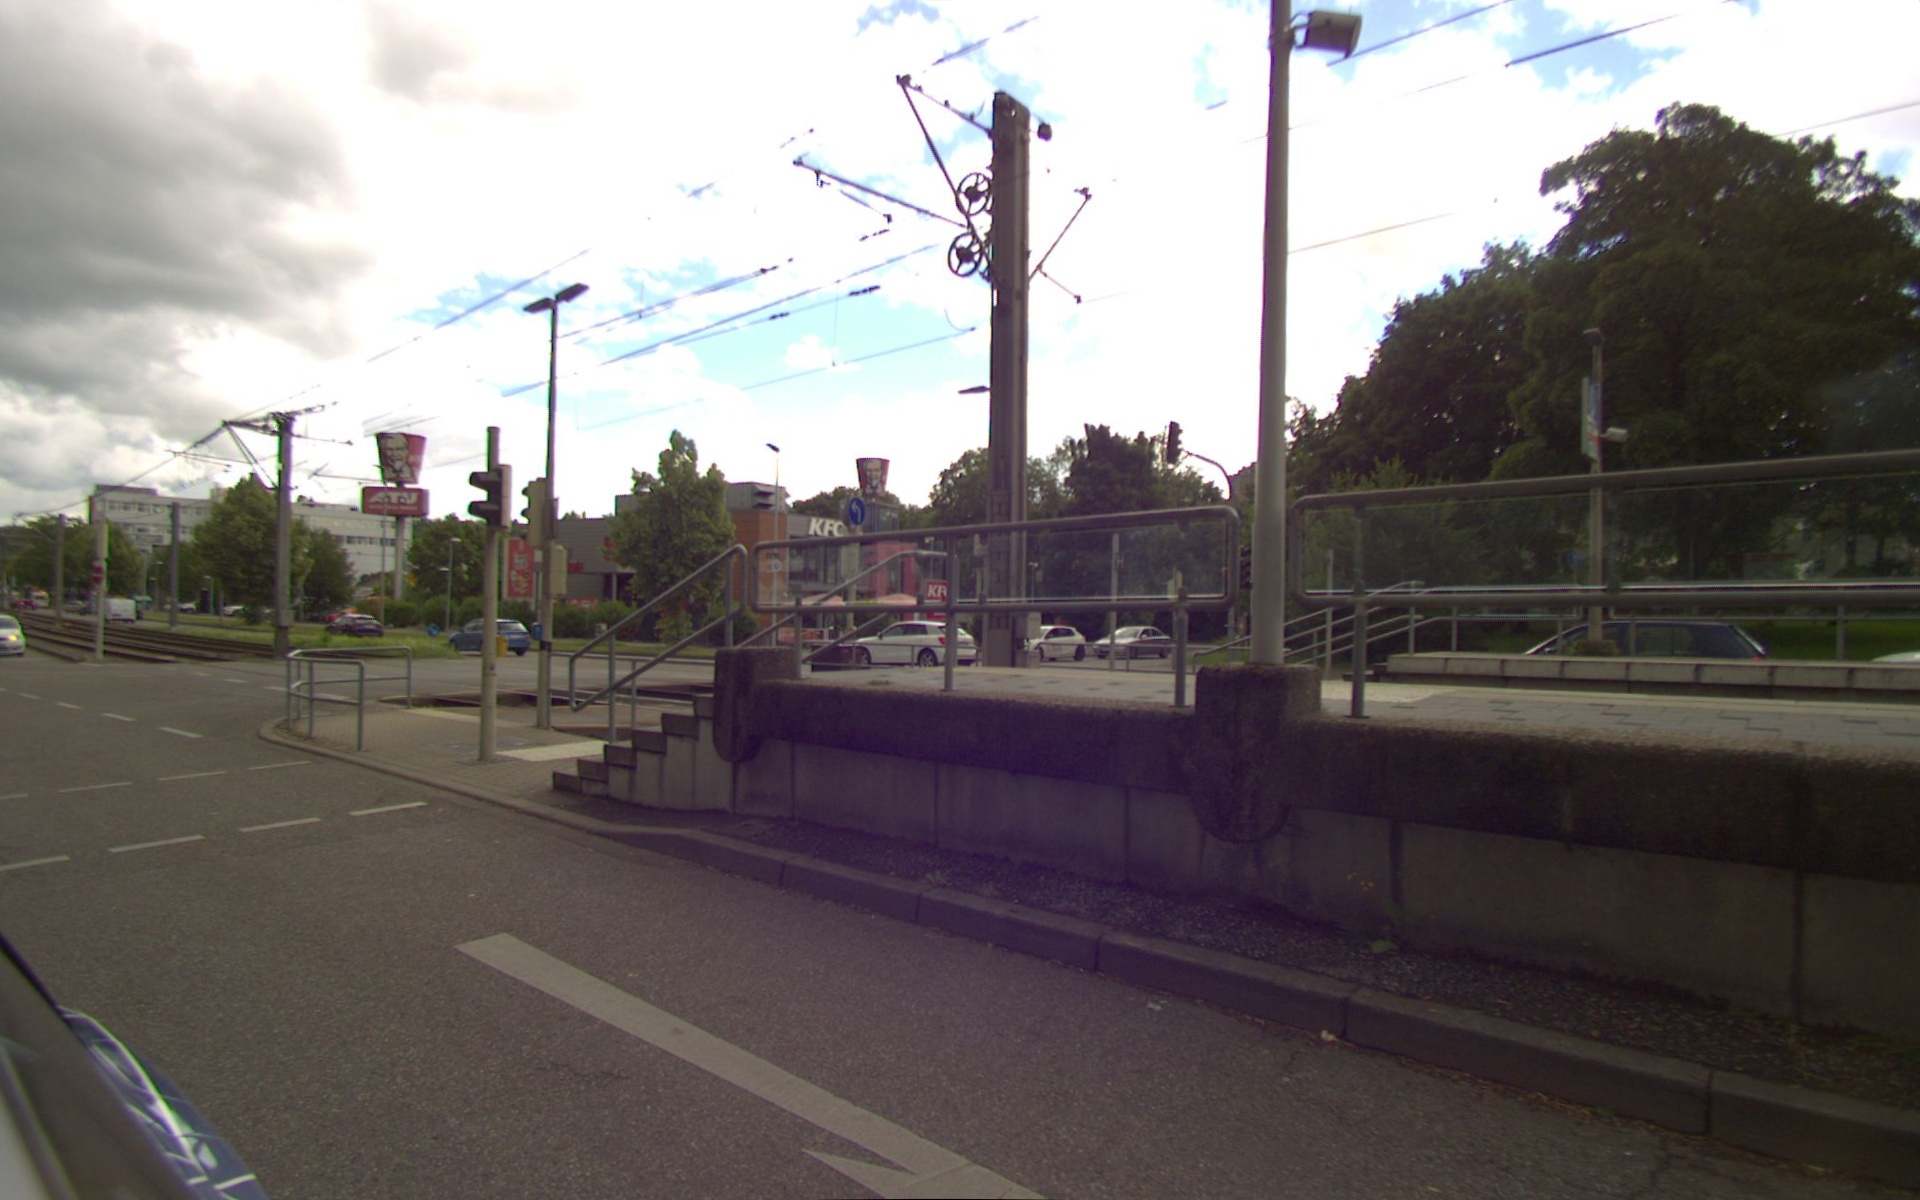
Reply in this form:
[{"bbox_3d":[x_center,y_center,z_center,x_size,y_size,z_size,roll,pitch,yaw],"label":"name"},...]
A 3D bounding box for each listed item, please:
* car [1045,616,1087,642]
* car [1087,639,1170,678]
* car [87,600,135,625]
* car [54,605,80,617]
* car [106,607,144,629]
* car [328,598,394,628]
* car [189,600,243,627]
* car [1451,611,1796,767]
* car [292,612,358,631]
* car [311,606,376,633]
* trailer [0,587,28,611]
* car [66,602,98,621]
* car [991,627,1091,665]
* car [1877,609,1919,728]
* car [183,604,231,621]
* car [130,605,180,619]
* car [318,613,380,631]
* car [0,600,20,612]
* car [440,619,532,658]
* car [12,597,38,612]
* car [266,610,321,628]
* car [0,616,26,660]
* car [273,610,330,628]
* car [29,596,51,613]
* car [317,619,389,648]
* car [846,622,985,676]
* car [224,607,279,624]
[{"bbox_3d":[8.724,2.349,83.064,1.993,2.029,3.957,-1,-1,31],"label":"car"},{"bbox_3d":[7.487,2.552,44.747,1.846,1.564,3.946,0,-2,40],"label":"car"},{"bbox_3d":[-70.918,1.050,84.500,4.878,2.029,1.975,0,-2,37],"label":"car"},{"bbox_3d":[-116.502,1.452,132.023,3.999,1.494,1.972,0,-3,42],"label":"car"},{"bbox_3d":[-80.908,1.710,98.046,4.102,2.029,1.974,0,-1,39],"label":"car"},{"bbox_3d":[-46.496,0.992,78.612,2.058,2.182,3.944,0,1,42],"label":"car"},{"bbox_3d":[-82.301,1.523,111.988,2.289,2.769,4.421,0,-2,42],"label":"car"},{"bbox_3d":[9.447,1.132,14.597,3.996,1.874,1.680,0,1,39],"label":"car"},{"bbox_3d":[-53.943,1.816,86.078,2.195,1.364,4.327,0,1,42],"label":"car"},{"bbox_3d":[-48.769,1.492,80.107,2.000,1.932,3.944,0,1,42],"label":"car"},{"bbox_3d":[-168.583,-0.190,180.183,14.426,3.926,2.642,0,-3,43],"label":"trailer"},{"bbox_3d":[-99.776,1.304,114.945,4.242,2.029,1.974,0,-1,39],"label":"car"},{"bbox_3d":[3.310,1.840,40.961,3.830,1.419,1.850,2,-2,-40],"label":"car"},{"bbox_3d":[16.210,1.060,14.549,4.396,1.764,1.693,0,-2,40],"label":"car"},{"bbox_3d":[-88.643,1.443,119.099,4.295,1.933,2.002,-2,1,-44],"label":"car"},{"bbox_3d":[-96.975,1.437,121.967,4.547,1.503,2.002,-2,1,-44],"label":"car"},{"bbox_3d":[-49.807,1.774,82.572,2.000,1.245,3.944,0,1,42],"label":"car"},{"bbox_3d":[-136.438,0.834,145.029,4.476,1.594,1.766,0,-2,38],"label":"car"},{"bbox_3d":[-18.975,1.528,40.431,4.046,1.457,1.580,0,-2,37],"label":"car"},{"bbox_3d":[-127.296,0.621,137.738,3.995,2.029,1.974,0,-3,39],"label":"car"},{"bbox_3d":[-62.507,1.750,94.966,1.937,1.518,3.944,0,1,42],"label":"car"},{"bbox_3d":[-34.818,1.342,36.112,3.998,1.455,1.763,0,1,41],"label":"car"},{"bbox_3d":[-59.239,1.729,91.067,1.937,1.431,3.944,0,1,42],"label":"car"},{"bbox_3d":[-143.224,0.700,157.463,5.998,2.518,1.849,0,-3,42],"label":"car"},{"bbox_3d":[-34.125,1.888,56.853,4.501,1.493,1.974,-1,-4,39],"label":"car"},{"bbox_3d":[-1.366,1.441,30.379,3.994,1.457,1.670,0,-3,37],"label":"car"},{"bbox_3d":[-74.784,1.618,106.825,1.794,1.518,4.425,0,1,39],"label":"car"}]
